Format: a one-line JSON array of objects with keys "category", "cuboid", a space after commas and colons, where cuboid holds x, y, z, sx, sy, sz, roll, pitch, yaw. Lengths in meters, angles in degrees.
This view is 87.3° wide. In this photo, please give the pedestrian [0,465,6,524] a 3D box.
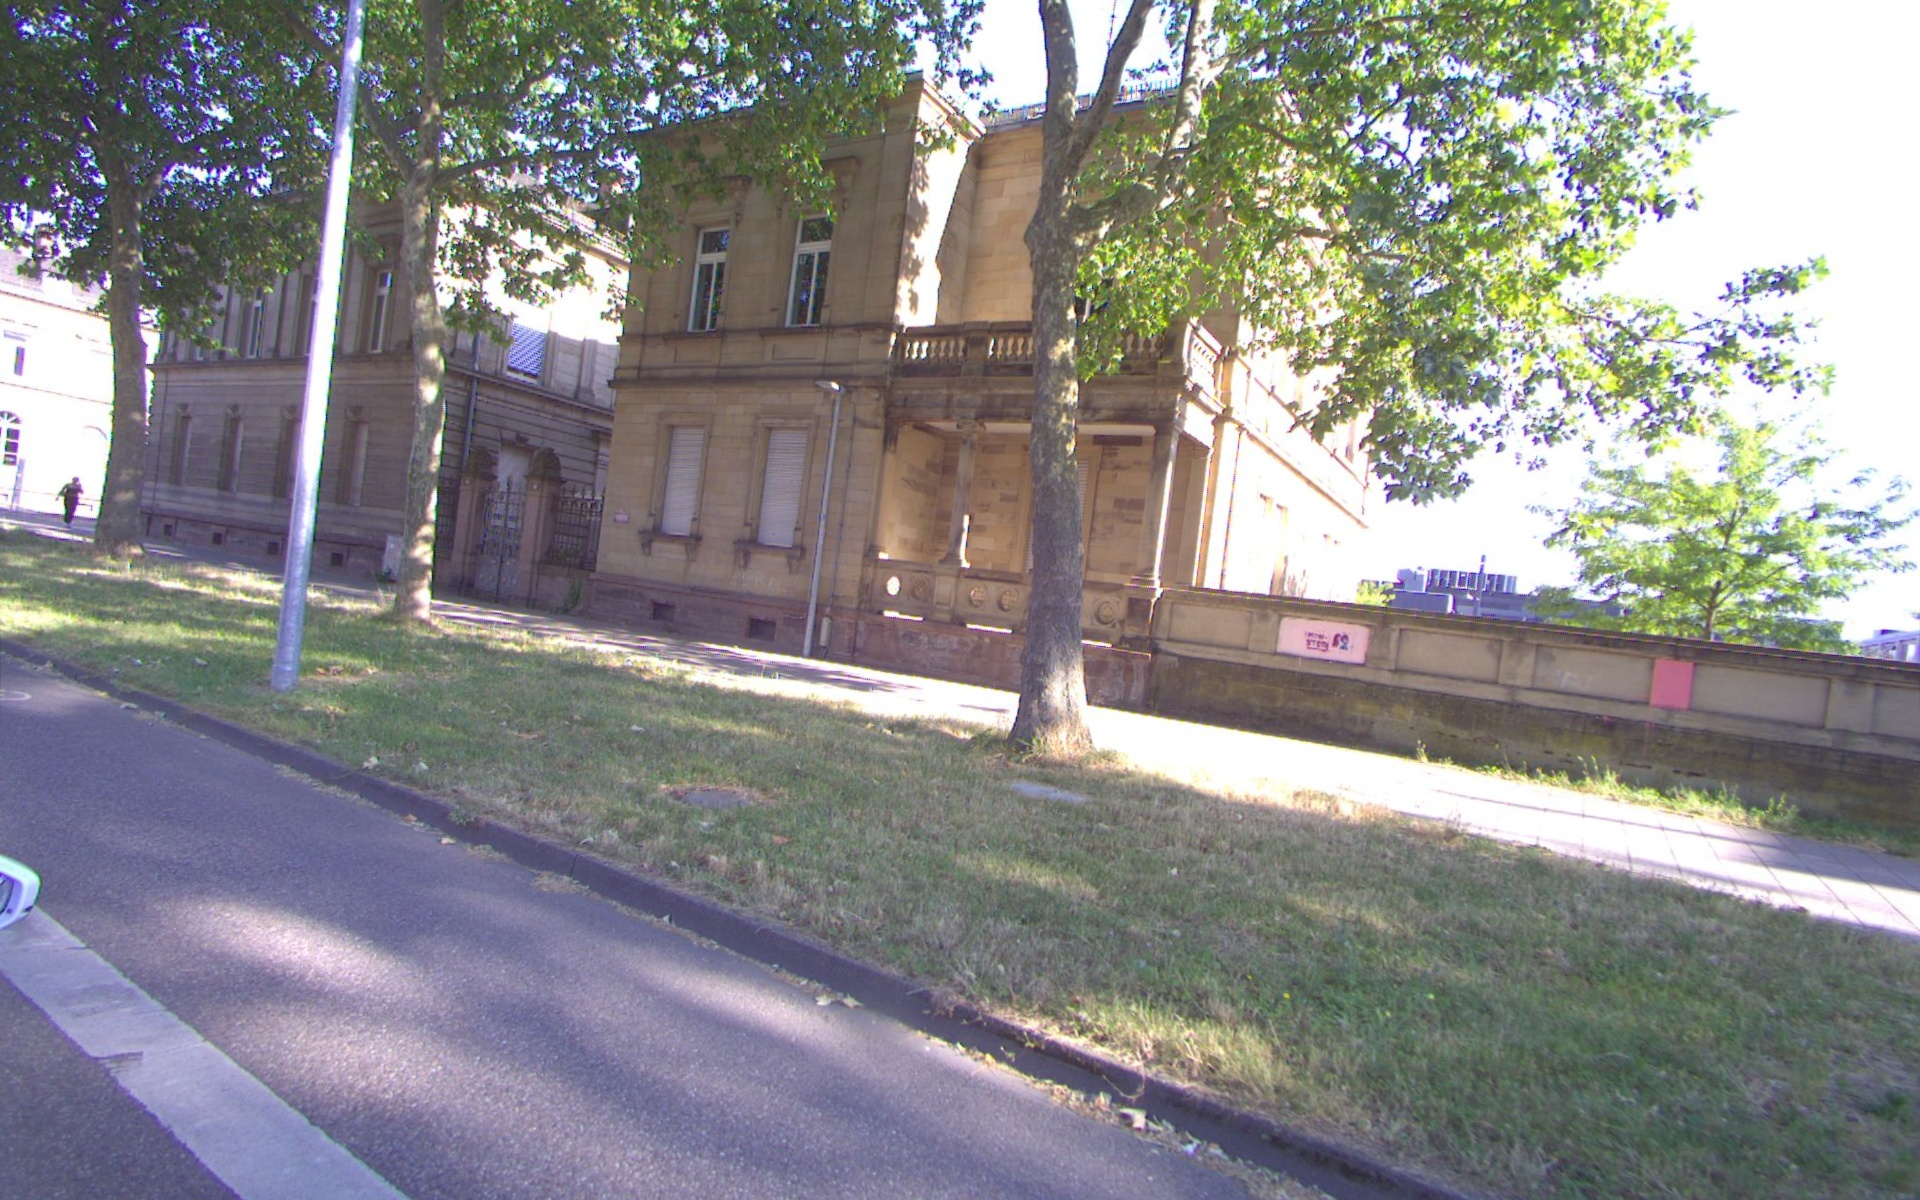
[{"category": "pedestrian", "cuboid": [-29.068, -3.209, 29.868, 1.025, 1.731, 0.770, 7, 1, 33]}]

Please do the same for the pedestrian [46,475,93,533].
[{"category": "pedestrian", "cuboid": [-27.836, -2.999, 31.439, 0.970, 1.626, 0.770, 7, 1, 33]}]
